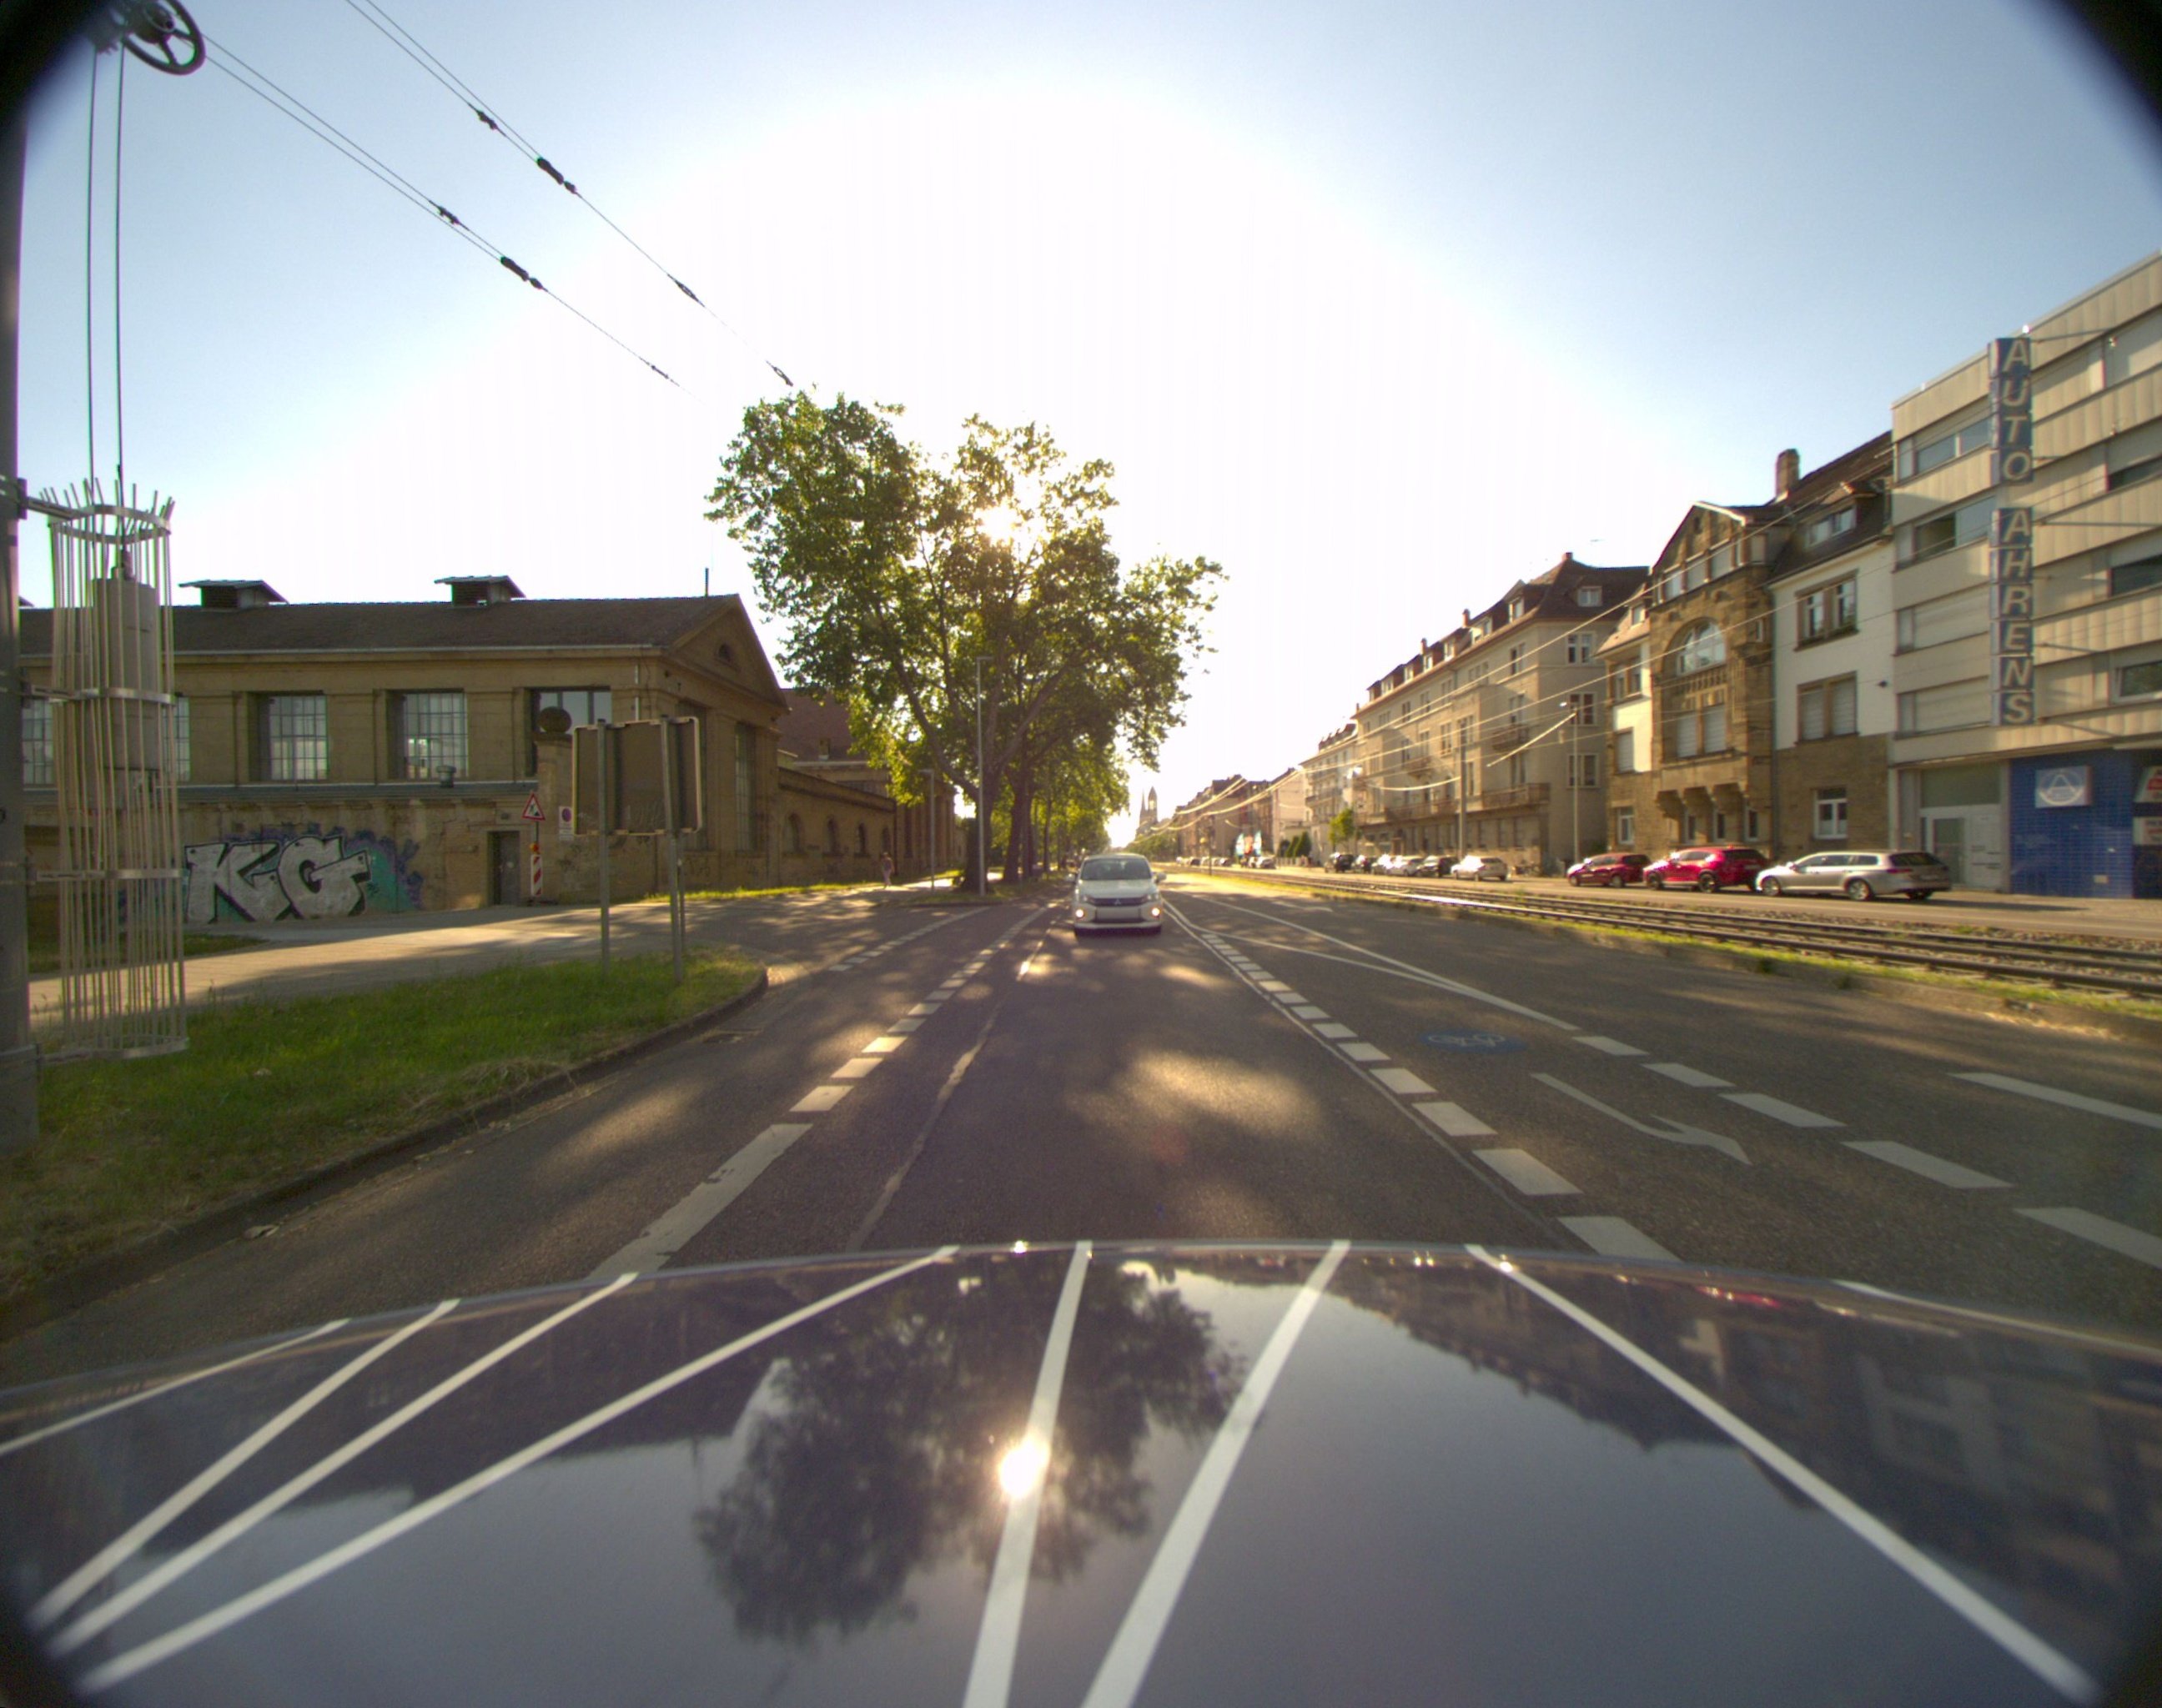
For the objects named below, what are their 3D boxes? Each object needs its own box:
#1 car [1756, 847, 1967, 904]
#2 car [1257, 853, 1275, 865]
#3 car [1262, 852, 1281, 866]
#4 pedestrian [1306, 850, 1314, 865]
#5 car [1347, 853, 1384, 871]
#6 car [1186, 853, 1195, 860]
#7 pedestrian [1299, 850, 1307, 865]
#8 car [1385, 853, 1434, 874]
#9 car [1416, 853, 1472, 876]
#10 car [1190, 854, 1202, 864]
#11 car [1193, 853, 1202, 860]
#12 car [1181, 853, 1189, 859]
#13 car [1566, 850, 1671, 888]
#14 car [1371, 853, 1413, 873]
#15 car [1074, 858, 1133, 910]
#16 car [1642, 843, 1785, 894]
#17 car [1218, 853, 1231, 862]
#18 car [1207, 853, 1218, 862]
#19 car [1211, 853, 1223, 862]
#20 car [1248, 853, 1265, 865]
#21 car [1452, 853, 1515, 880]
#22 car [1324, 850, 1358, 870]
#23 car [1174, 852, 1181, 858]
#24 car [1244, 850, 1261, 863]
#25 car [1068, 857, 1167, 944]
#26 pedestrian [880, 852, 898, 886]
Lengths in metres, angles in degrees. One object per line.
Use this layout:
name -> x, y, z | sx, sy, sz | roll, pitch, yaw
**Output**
car -> 23.351, 0.603, 23.034 | 1.860, 1.490, 4.382 | -3, 0, 0
car -> 25.084, 0.669, 103.086 | 1.684, 1.562, 3.388 | -2, 0, 1
car -> 24.443, 0.652, 97.685 | 1.677, 1.622, 3.408 | -2, 0, 2
pedestrian -> 28.001, 0.410, 92.805 | 0.725, 1.779, 0.678 | 0, 0, 1
car -> 24.598, 0.664, 65.721 | 1.802, 1.470, 3.823 | -2, 0, 2
car -> 26.810, 0.668, 185.675 | 1.624, 1.581, 3.450 | -2, 0, 1
pedestrian -> 27.196, 0.408, 93.140 | 0.725, 1.779, 0.678 | 0, 0, 1
car -> 23.683, 0.670, 54.914 | 1.642, 1.438, 3.538 | -2, 0, -6
car -> 24.119, 0.658, 50.654 | 1.802, 1.422, 3.823 | -2, 0, 0
car -> 20.738, 0.932, 137.167 | 1.822, 1.674, 4.000 | -1, 0, 2
car -> 27.191, 0.518, 178.031 | 1.624, 1.581, 3.450 | -2, 0, 1
car -> 26.859, 0.581, 196.279 | 1.624, 1.581, 3.450 | -2, 0, 1
car -> 23.581, 0.633, 33.517 | 1.756, 1.487, 3.729 | -3, 0, -5
car -> 24.430, 0.681, 59.789 | 1.802, 1.470, 3.823 | -2, 0, 2
car -> 0.706, 0.877, 24.004 | 1.686, 1.462, 4.055 | -1, 0, 2
car -> 23.398, 0.513, 28.351 | 1.860, 1.677, 4.263 | -3, 0, 2
car -> 25.213, 0.647, 133.863 | 1.624, 1.581, 3.450 | -2, 0, 1
car -> 25.729, 0.695, 148.388 | 1.624, 1.581, 3.450 | -2, 0, 1
car -> 25.619, 0.663, 143.146 | 1.624, 1.581, 3.450 | -2, 0, 1
car -> 25.012, 0.704, 108.293 | 1.684, 1.562, 3.388 | -2, 0, 1
car -> 23.944, 0.694, 45.362 | 1.802, 1.470, 3.823 | -2, 0, 2
car -> 24.348, 0.582, 71.278 | 1.875, 1.726, 3.916 | -2, 0, 2
car -> 28.395, 0.377, 223.265 | 1.624, 1.581, 3.450 | -2, 0, 1
car -> 25.603, 0.327, 113.452 | 1.727, 1.776, 3.881 | -2, 0, 1
car -> 0.685, 0.823, 15.220 | 1.686, 1.462, 4.055 | -1, 0, 2
pedestrian -> -9.279, 0.709, 36.750 | 0.672, 1.652, 0.874 | 0, 0, -5
